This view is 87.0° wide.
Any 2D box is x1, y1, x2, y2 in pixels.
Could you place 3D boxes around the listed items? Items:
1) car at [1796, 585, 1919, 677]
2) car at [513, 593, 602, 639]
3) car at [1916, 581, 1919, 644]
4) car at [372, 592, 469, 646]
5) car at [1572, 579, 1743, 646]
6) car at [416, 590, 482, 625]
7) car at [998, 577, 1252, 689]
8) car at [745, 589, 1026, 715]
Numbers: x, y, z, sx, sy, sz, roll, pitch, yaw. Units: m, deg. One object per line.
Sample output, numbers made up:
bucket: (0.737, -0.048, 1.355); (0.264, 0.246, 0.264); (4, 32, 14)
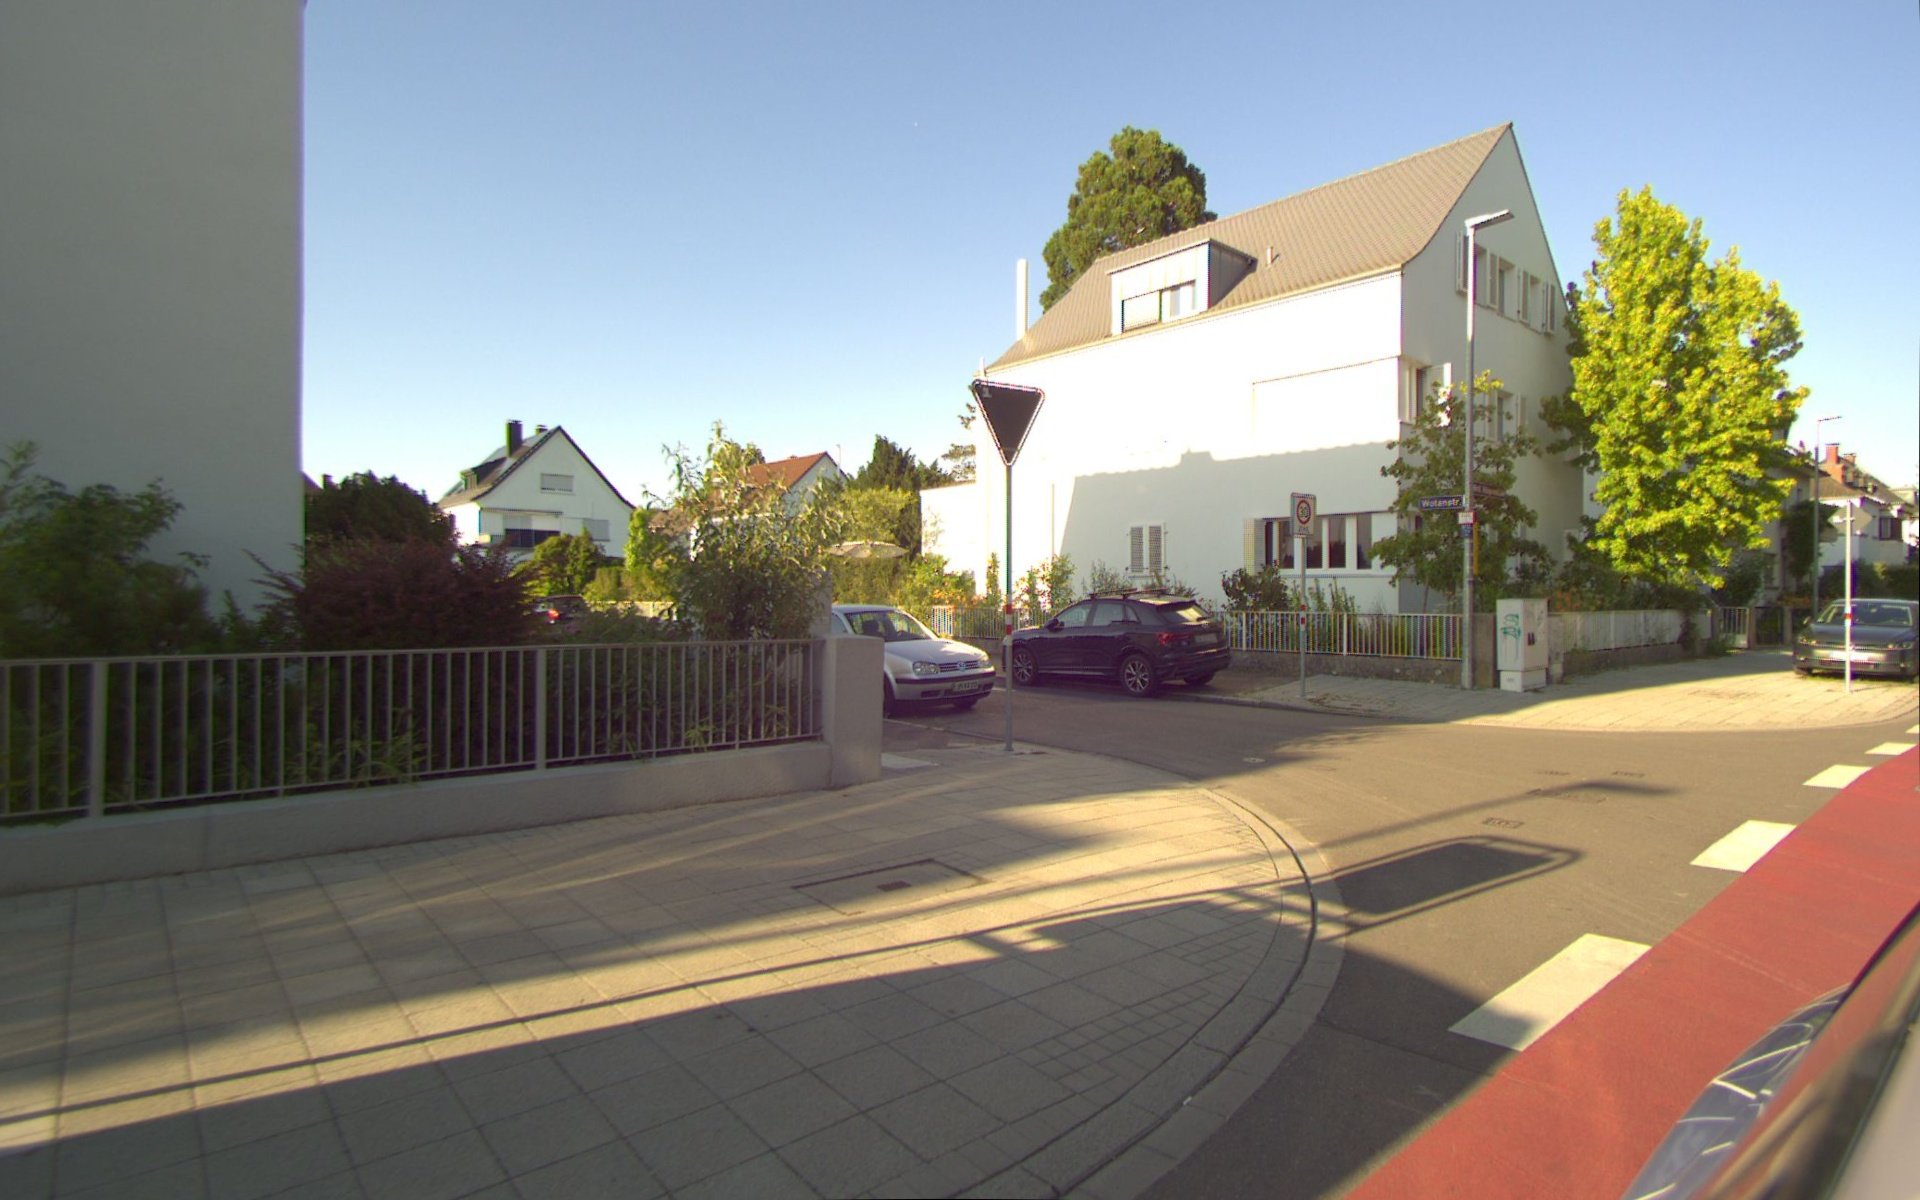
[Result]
car: (17.384, 0.535, 19.047); (4.050, 1.501, 1.798); (1, 2, -40)
car: (-15.056, 0.543, 37.751); (1.770, 1.554, 4.387); (-1, 1, -40)
car: (28.838, 0.370, 28.714); (4.493, 1.729, 1.910); (0, 2, -39)
car: (-17.105, 0.600, 32.003); (1.771, 1.554, 4.122); (-1, 0, -42)
car: (21.056, 0.415, 30.652); (3.982, 1.869, 1.786); (-2, -2, 44)
car: (-24.170, 0.310, 47.803); (1.770, 1.554, 4.387); (-1, 1, -40)
car: (2.766, 0.531, 17.696); (1.862, 1.710, 4.094); (-1, 0, -42)
car: (-1.179, 0.665, 14.371); (1.862, 1.489, 4.076); (-2, 0, -42)
